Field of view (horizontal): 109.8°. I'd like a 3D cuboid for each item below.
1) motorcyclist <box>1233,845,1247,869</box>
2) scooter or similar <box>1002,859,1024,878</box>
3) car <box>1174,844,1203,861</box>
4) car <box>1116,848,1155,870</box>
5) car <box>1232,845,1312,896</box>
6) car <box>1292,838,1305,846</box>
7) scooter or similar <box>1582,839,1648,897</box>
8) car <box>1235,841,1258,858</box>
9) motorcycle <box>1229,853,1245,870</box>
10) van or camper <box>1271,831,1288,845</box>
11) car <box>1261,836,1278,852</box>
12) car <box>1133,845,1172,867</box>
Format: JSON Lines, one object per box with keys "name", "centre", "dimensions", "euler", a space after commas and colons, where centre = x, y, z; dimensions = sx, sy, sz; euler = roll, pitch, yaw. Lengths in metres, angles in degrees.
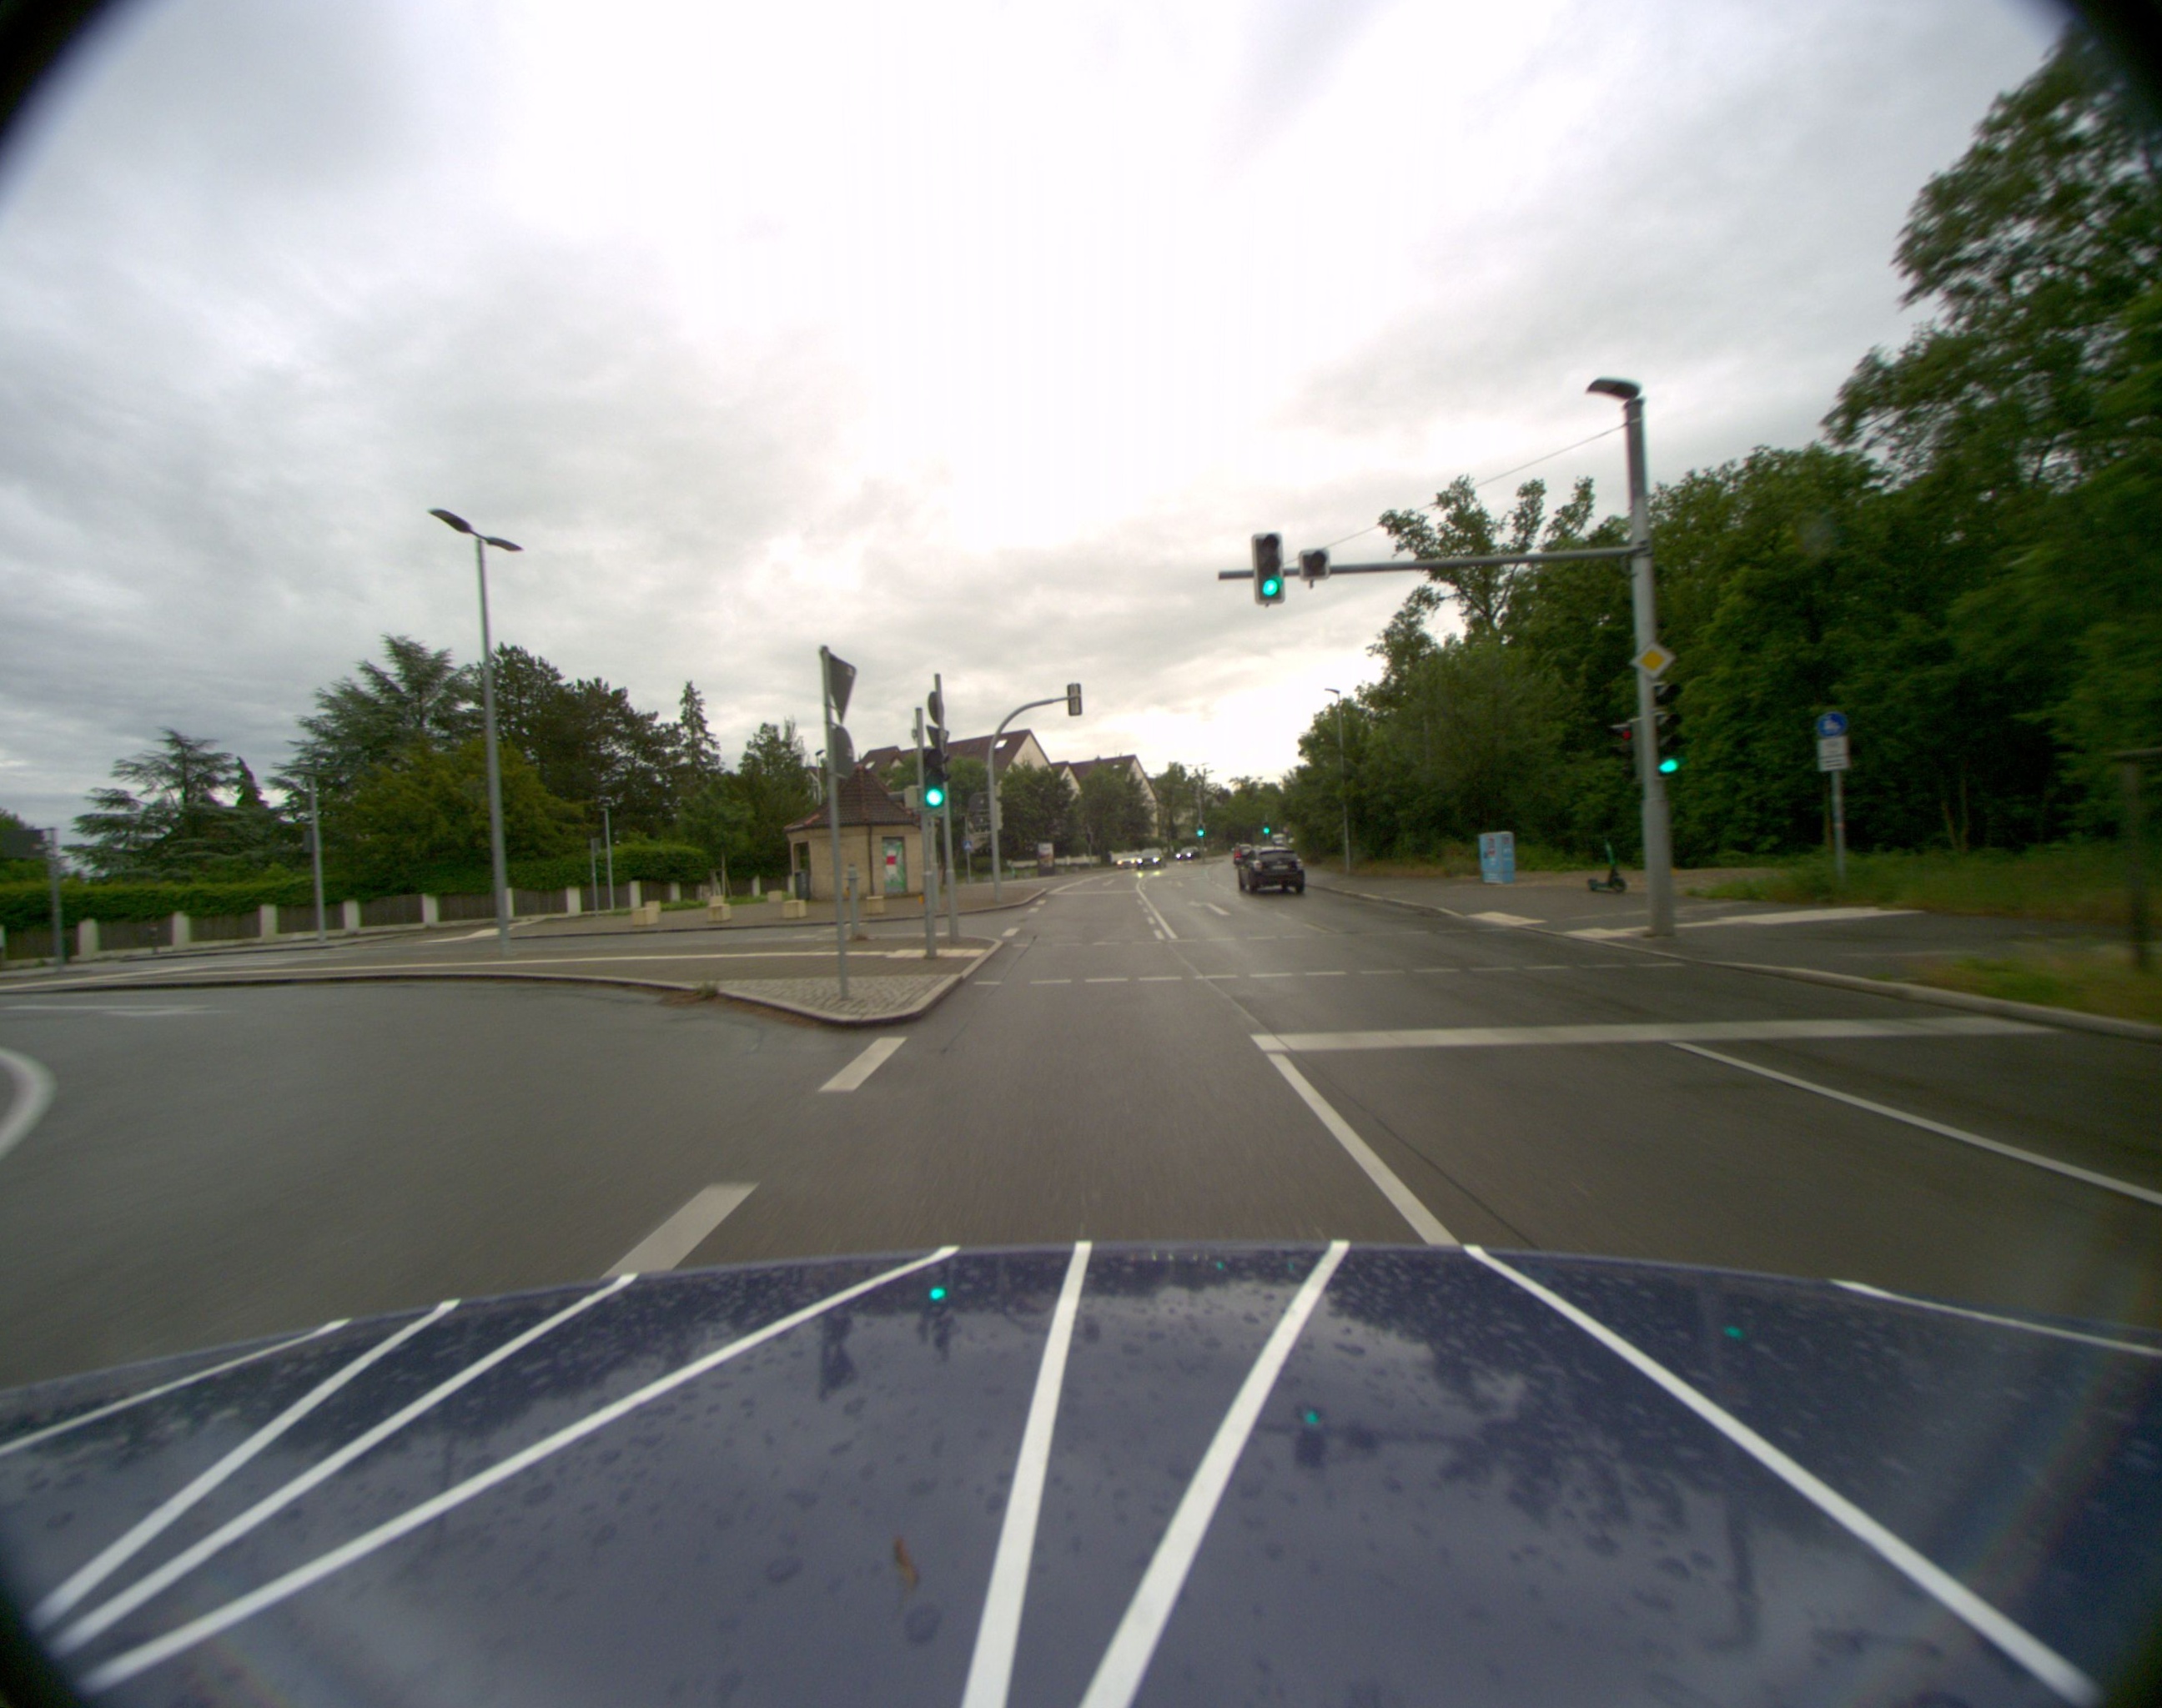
{"name": "motorcyclist", "centre": [10.786, 0.210, 51.643], "dimensions": [0.747, 1.623, 0.927], "euler": [-2, 1, 3]}
{"name": "scooter or similar", "centre": [-4.961, 1.046, 55.599], "dimensions": [1.350, 1.200, 0.525], "euler": [-6, 1, 16]}
{"name": "car", "centre": [11.375, -0.129, 80.371], "dimensions": [1.942, 1.594, 4.610], "euler": [-2, 1, 22]}
{"name": "car", "centre": [4.617, 0.366, 63.673], "dimensions": [1.942, 1.594, 4.610], "euler": [-2, 1, 22]}
{"name": "car", "centre": [6.612, 0.523, 26.810], "dimensions": [1.793, 1.572, 4.562], "euler": [-3, 0, 3]}
{"name": "car", "centre": [44.942, -2.454, 156.810], "dimensions": [1.942, 1.594, 4.610], "euler": [-2, 1, 22]}
{"name": "scooter or similar", "centre": [11.695, 0.284, 16.681], "dimensions": [0.518, 1.205, 1.469], "euler": [-4, 1, 7]}
{"name": "car", "centre": [14.203, -0.374, 65.207], "dimensions": [1.744, 1.344, 4.212], "euler": [-2, 1, 10]}
{"name": "motorcycle", "centre": [10.594, 0.512, 51.446], "dimensions": [0.594, 1.044, 2.002], "euler": [-2, 1, 24]}
{"name": "van or camper", "centre": [36.313, -2.912, 138.819], "dimensions": [1.995, 2.438, 4.728], "euler": [-4, 1, 25]}
{"name": "car", "centre": [21.609, -1.119, 86.940], "dimensions": [1.578, 1.721, 3.778], "euler": [-2, 1, 17]}
{"name": "car", "centre": [5.283, 0.117, 55.759], "dimensions": [1.942, 1.446, 4.609], "euler": [-2, 1, 17]}
